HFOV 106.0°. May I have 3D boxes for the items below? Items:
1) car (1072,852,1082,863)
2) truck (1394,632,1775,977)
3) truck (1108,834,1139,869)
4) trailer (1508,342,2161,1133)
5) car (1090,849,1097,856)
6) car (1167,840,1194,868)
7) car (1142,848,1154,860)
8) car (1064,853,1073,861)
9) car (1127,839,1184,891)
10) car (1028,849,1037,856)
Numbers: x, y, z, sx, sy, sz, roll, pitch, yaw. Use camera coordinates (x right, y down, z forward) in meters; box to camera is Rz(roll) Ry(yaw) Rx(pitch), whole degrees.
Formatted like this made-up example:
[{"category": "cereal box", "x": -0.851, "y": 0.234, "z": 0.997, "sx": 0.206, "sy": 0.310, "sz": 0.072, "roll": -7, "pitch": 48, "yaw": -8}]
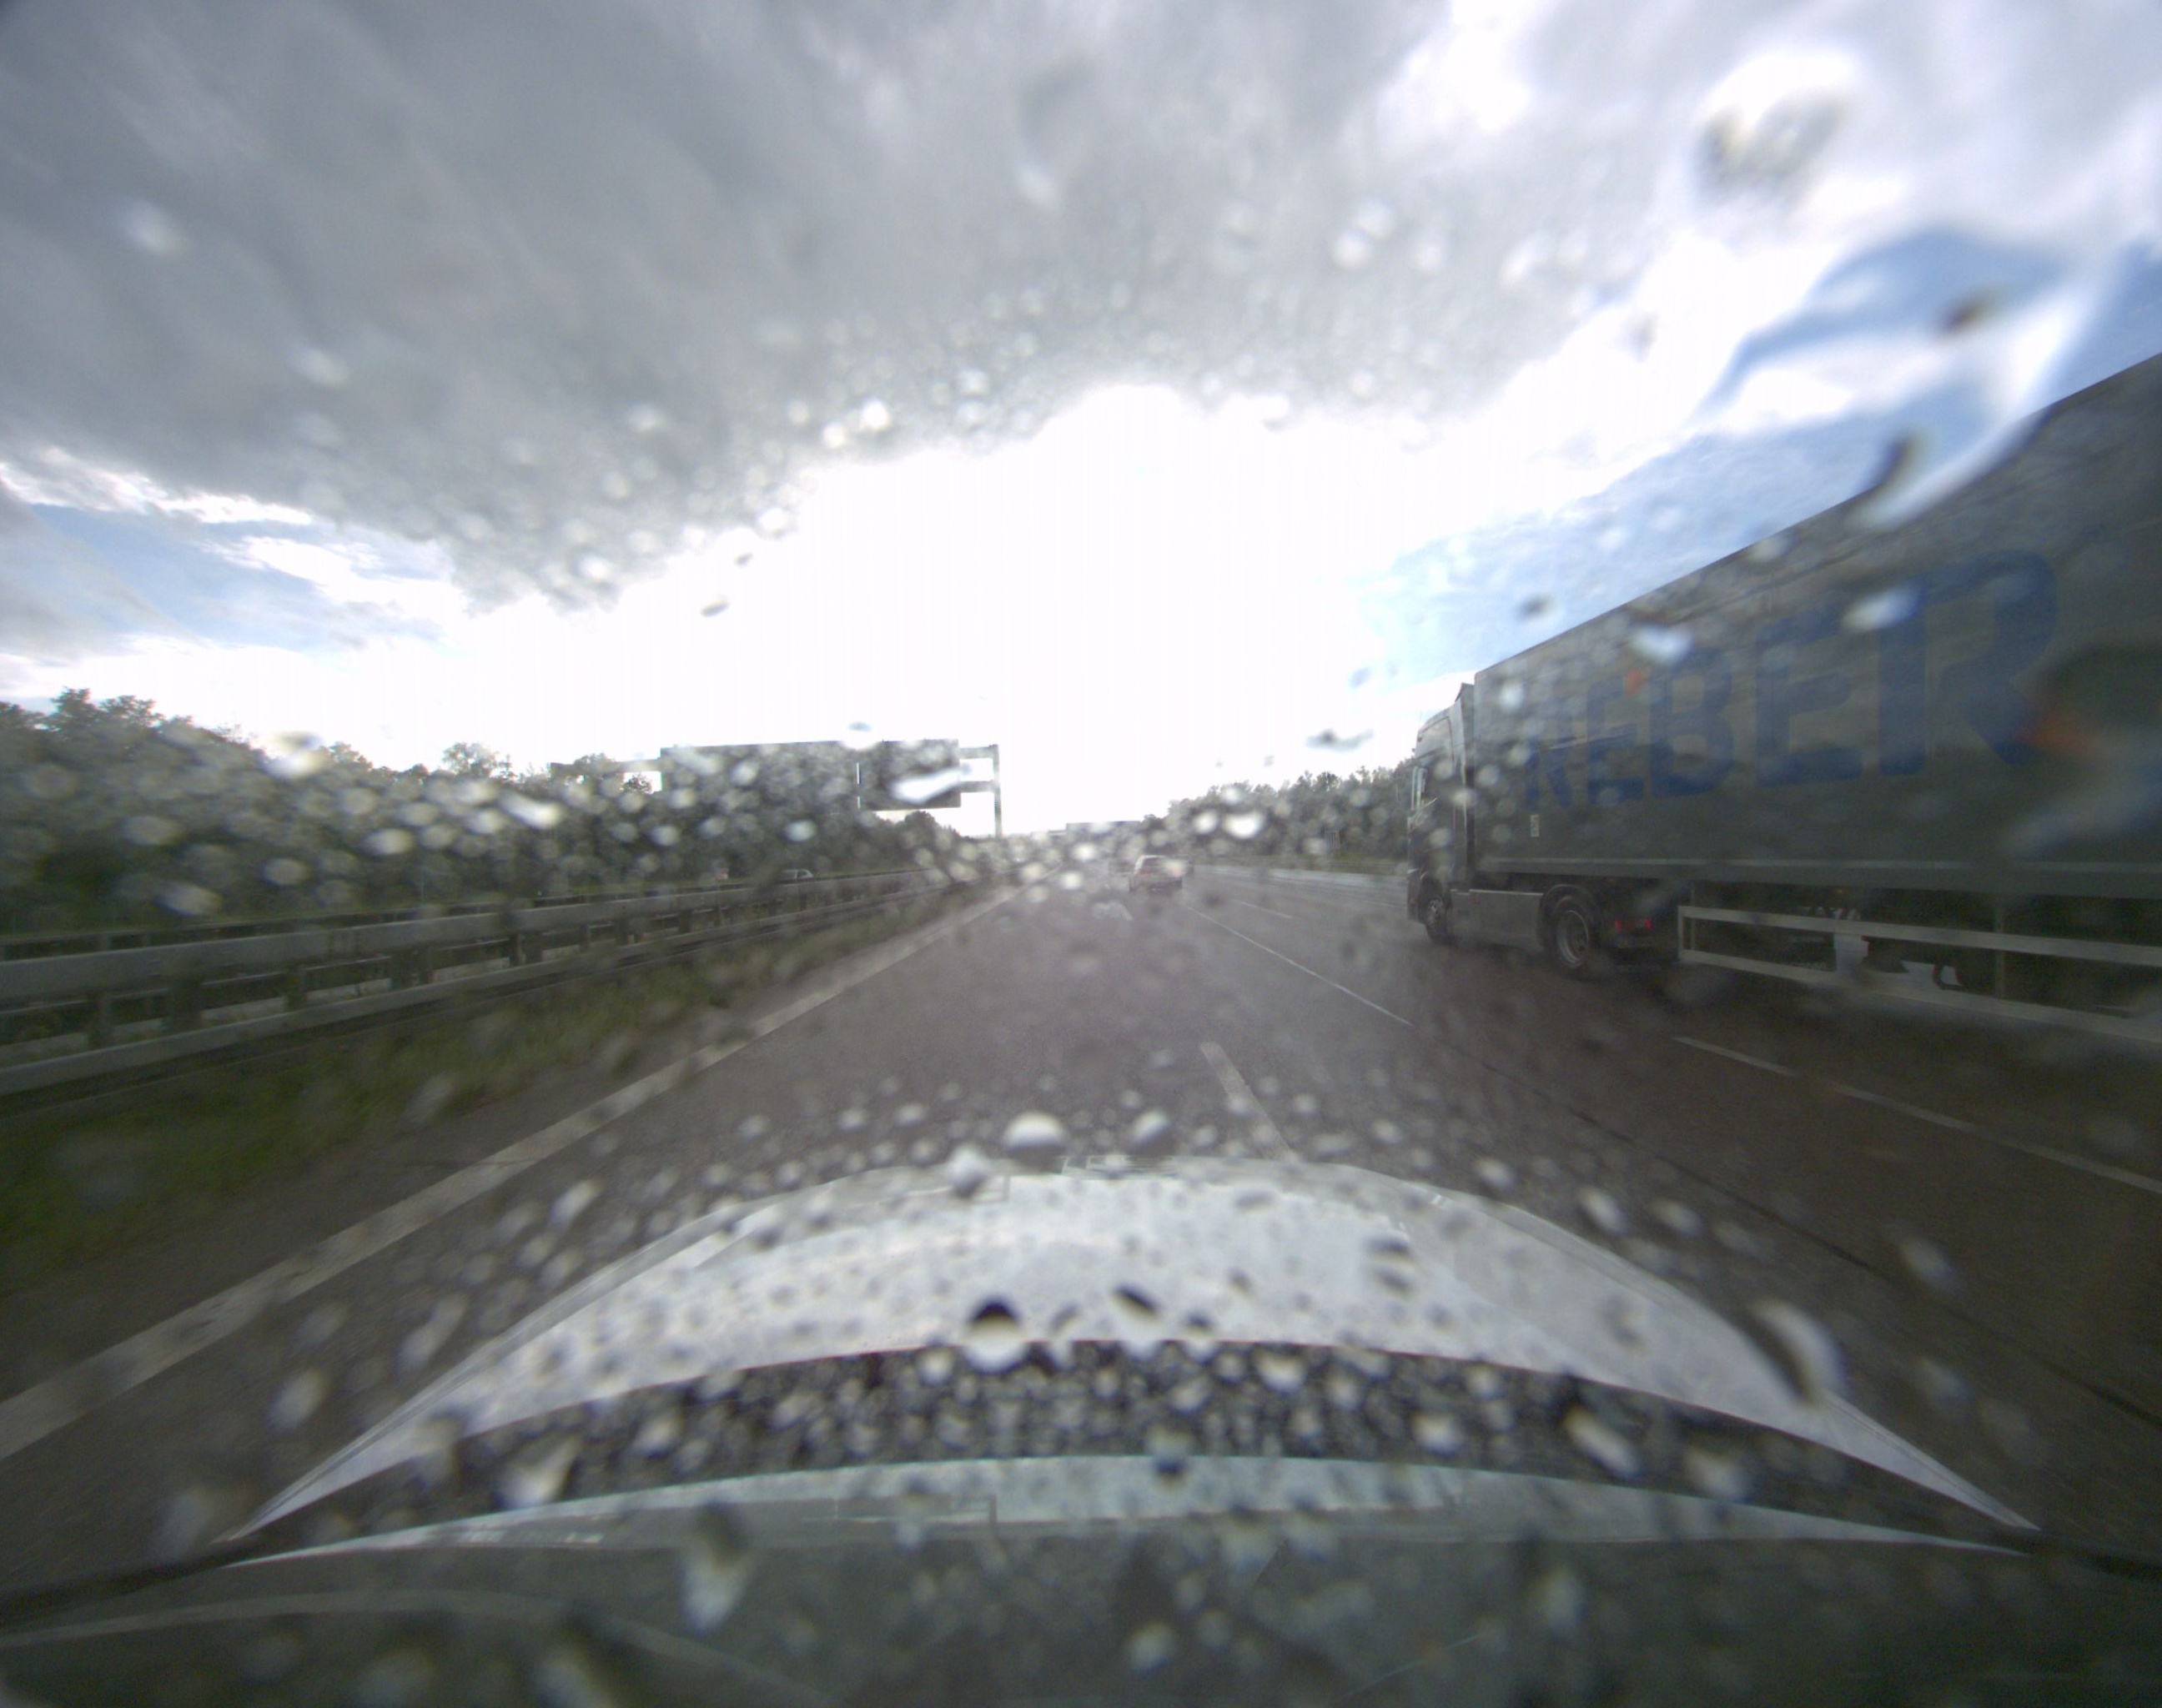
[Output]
[{"category": "car", "x": -0.789, "y": 0.661, "z": 157.090, "sx": 1.668, "sy": 2.013, "sz": 4.002, "roll": 0, "pitch": 0, "yaw": 2}, {"category": "truck", "x": 6.748, "y": -0.570, "z": 11.941, "sx": 2.285, "sy": 3.868, "sz": 5.393, "roll": -1, "pitch": 0, "yaw": 1}, {"category": "truck", "x": 3.166, "y": -0.196, "z": 60.004, "sx": 2.128, "sy": 2.489, "sz": 5.319, "roll": -1, "pitch": 0, "yaw": 4}, {"category": "trailer", "x": 6.632, "y": -0.601, "z": 3.826, "sx": 2.316, "sy": 4.001, "sz": 13.412, "roll": -1, "pitch": 0, "yaw": 1}, {"category": "car", "x": 3.726, "y": -0.467, "z": 245.006, "sx": 1.986, "sy": 2.013, "sz": 4.002, "roll": 0, "pitch": 0, "yaw": 2}, {"category": "car", "x": 7.385, "y": -0.027, "z": 60.707, "sx": 1.899, "sy": 2.013, "sz": 4.006, "roll": -1, "pitch": 0, "yaw": 5}, {"category": "car", "x": 11.194, "y": -0.066, "z": 135.569, "sx": 1.984, "sy": 2.013, "sz": 4.006, "roll": 0, "pitch": 0, "yaw": 5}, {"category": "car", "x": -3.277, "y": 0.720, "z": 213.256, "sx": 1.986, "sy": 2.013, "sz": 4.002, "roll": -1, "pitch": 0, "yaw": 2}, {"category": "car", "x": 2.968, "y": 0.410, "z": 32.707, "sx": 2.068, "sy": 1.885, "sz": 5.018, "roll": -2, "pitch": 0, "yaw": 5}, {"category": "car", "x": -13.023, "y": -0.407, "z": 218.289, "sx": 1.986, "sy": 2.013, "sz": 4.002, "roll": -1, "pitch": 0, "yaw": 2}]
